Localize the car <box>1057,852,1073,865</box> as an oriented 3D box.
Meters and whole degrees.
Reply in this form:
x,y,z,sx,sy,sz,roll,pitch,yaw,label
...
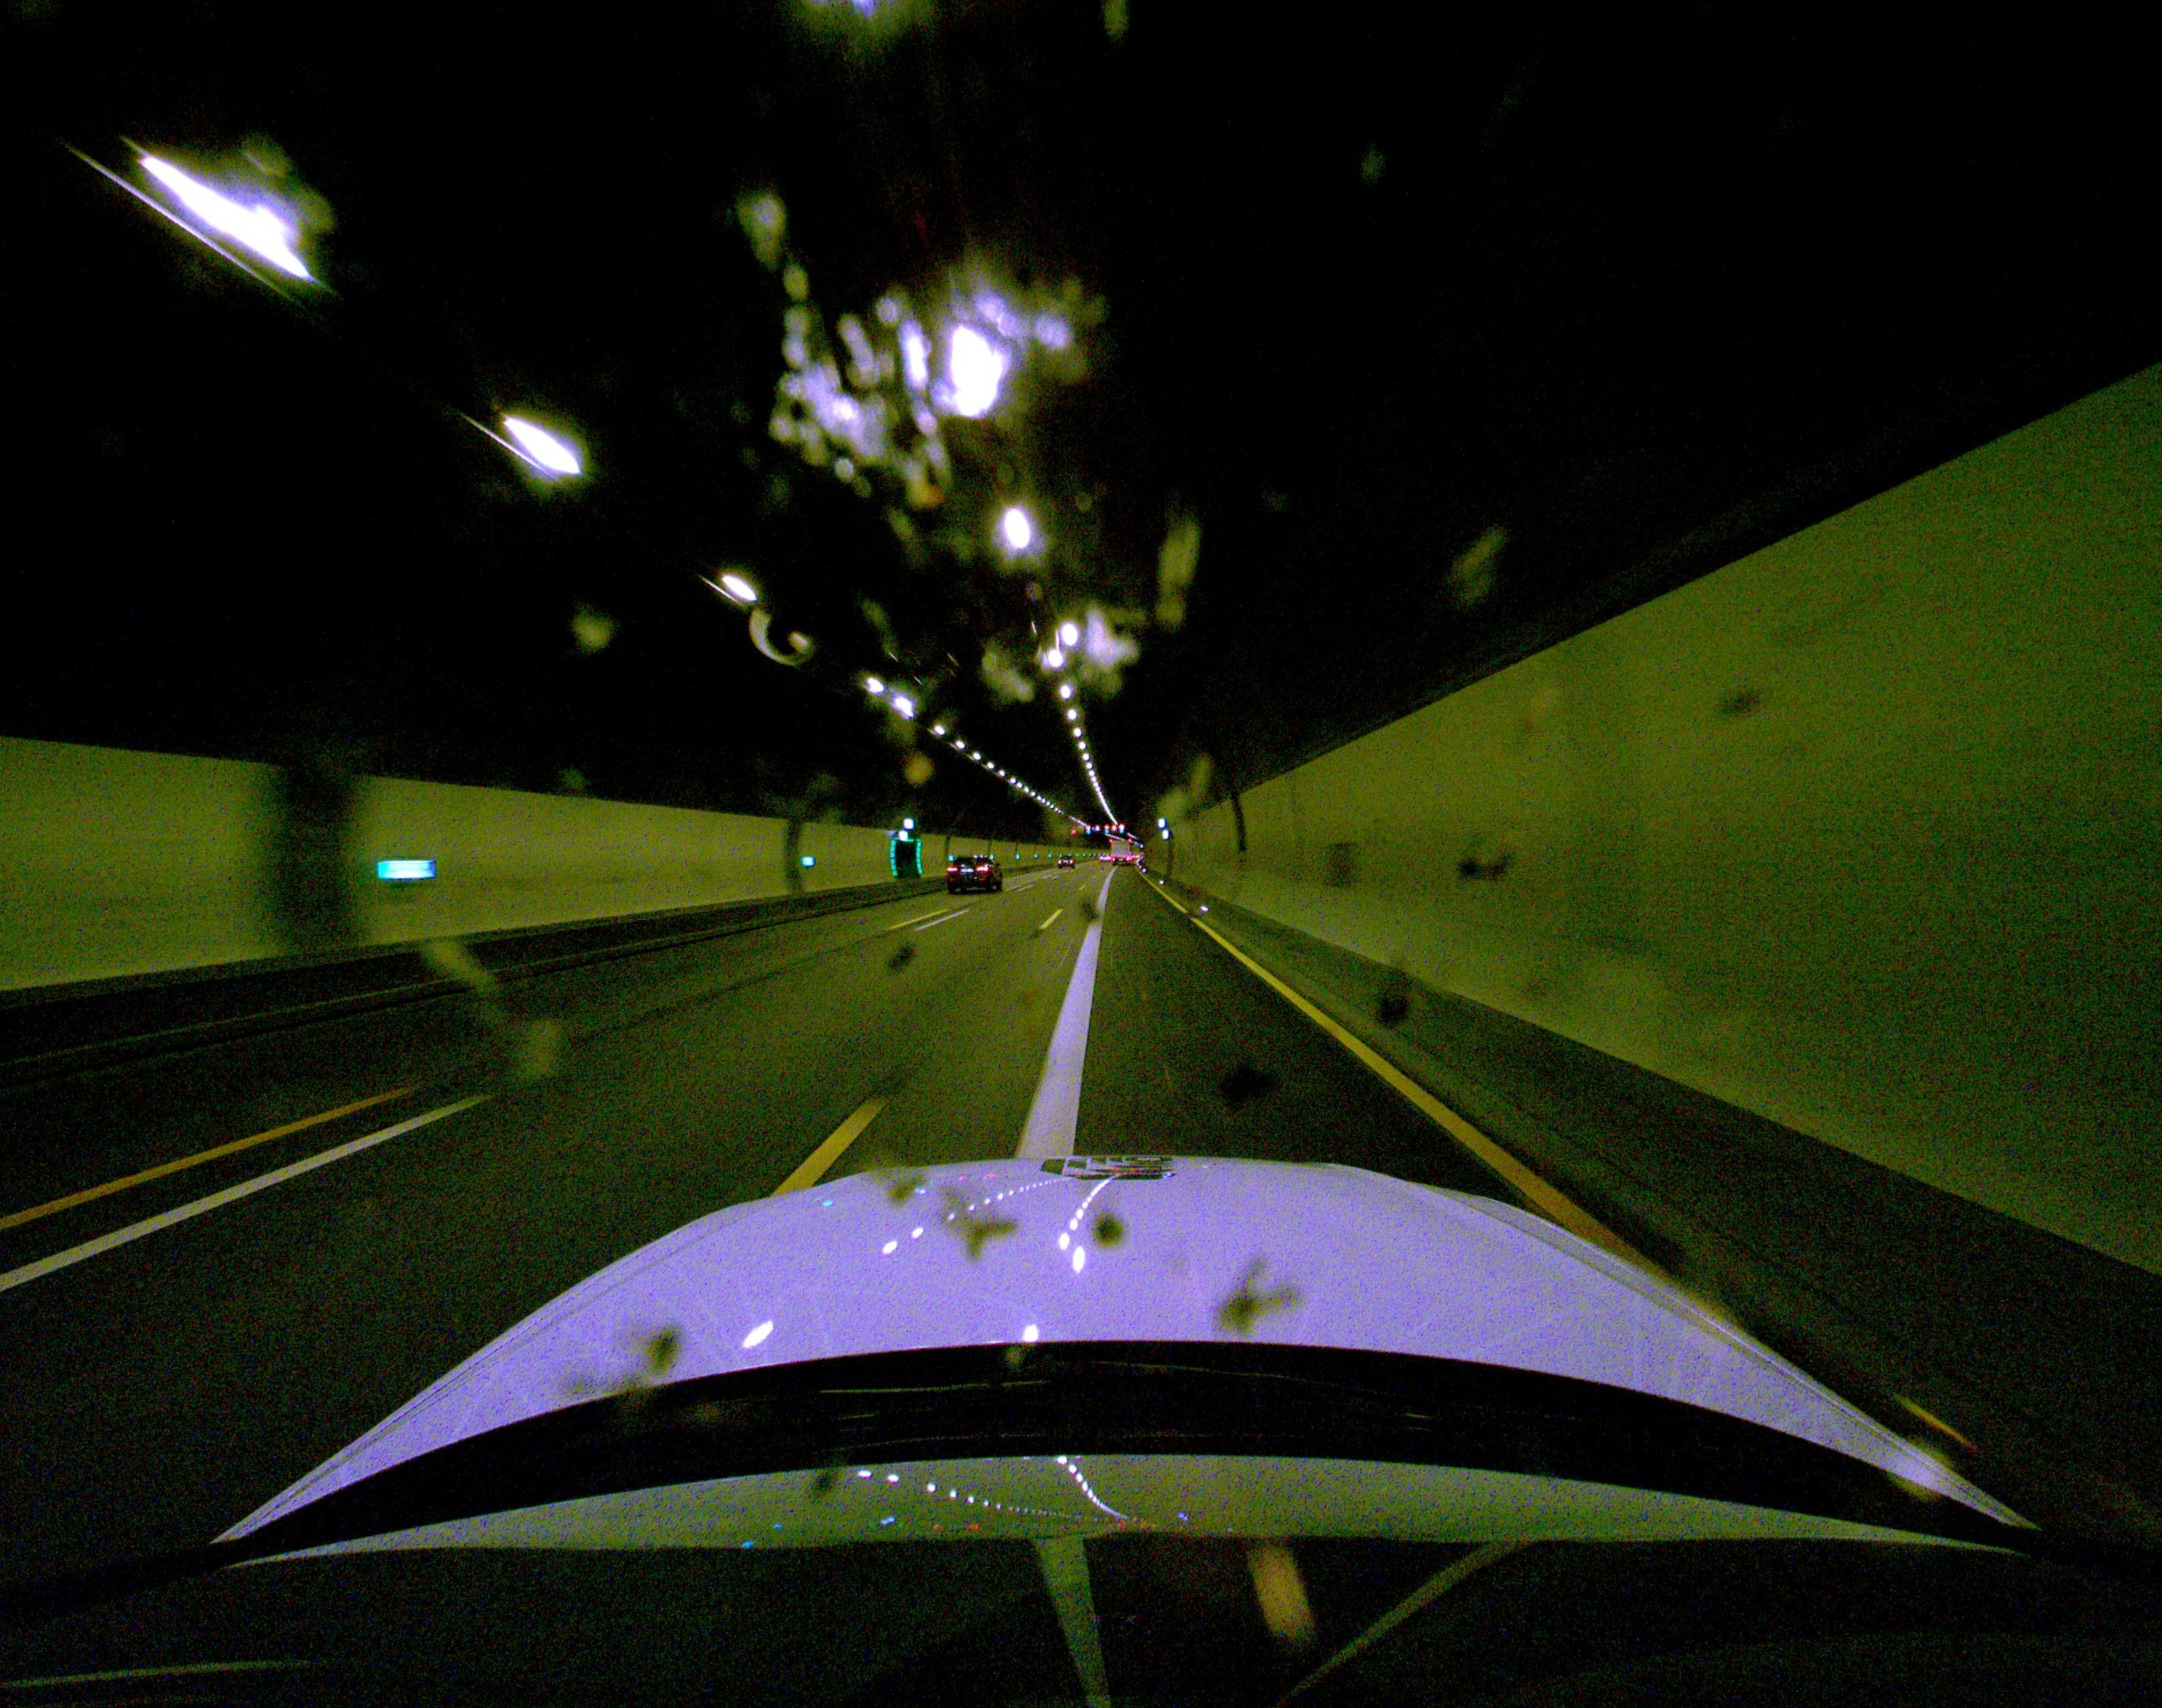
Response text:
x,y,z,sx,sy,sz,roll,pitch,yaw,label
-1.785,0.487,91.047,1.683,1.417,3.923,-2,0,1,car

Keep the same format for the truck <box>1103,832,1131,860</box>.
x,y,z,sx,sy,sz,roll,pitch,yaw,label
4.839,-1.087,112.821,3.579,3.650,10.726,-2,0,1,truck

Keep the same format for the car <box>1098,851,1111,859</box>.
x,y,z,sx,sy,sz,roll,pitch,yaw,label
4.320,0.175,150.285,1.984,1.412,4.749,-2,0,5,car

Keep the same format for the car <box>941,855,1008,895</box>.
x,y,z,sx,sy,sz,roll,pitch,yaw,label
-4.473,0.832,35.006,1.985,1.540,4.746,-2,0,3,car
